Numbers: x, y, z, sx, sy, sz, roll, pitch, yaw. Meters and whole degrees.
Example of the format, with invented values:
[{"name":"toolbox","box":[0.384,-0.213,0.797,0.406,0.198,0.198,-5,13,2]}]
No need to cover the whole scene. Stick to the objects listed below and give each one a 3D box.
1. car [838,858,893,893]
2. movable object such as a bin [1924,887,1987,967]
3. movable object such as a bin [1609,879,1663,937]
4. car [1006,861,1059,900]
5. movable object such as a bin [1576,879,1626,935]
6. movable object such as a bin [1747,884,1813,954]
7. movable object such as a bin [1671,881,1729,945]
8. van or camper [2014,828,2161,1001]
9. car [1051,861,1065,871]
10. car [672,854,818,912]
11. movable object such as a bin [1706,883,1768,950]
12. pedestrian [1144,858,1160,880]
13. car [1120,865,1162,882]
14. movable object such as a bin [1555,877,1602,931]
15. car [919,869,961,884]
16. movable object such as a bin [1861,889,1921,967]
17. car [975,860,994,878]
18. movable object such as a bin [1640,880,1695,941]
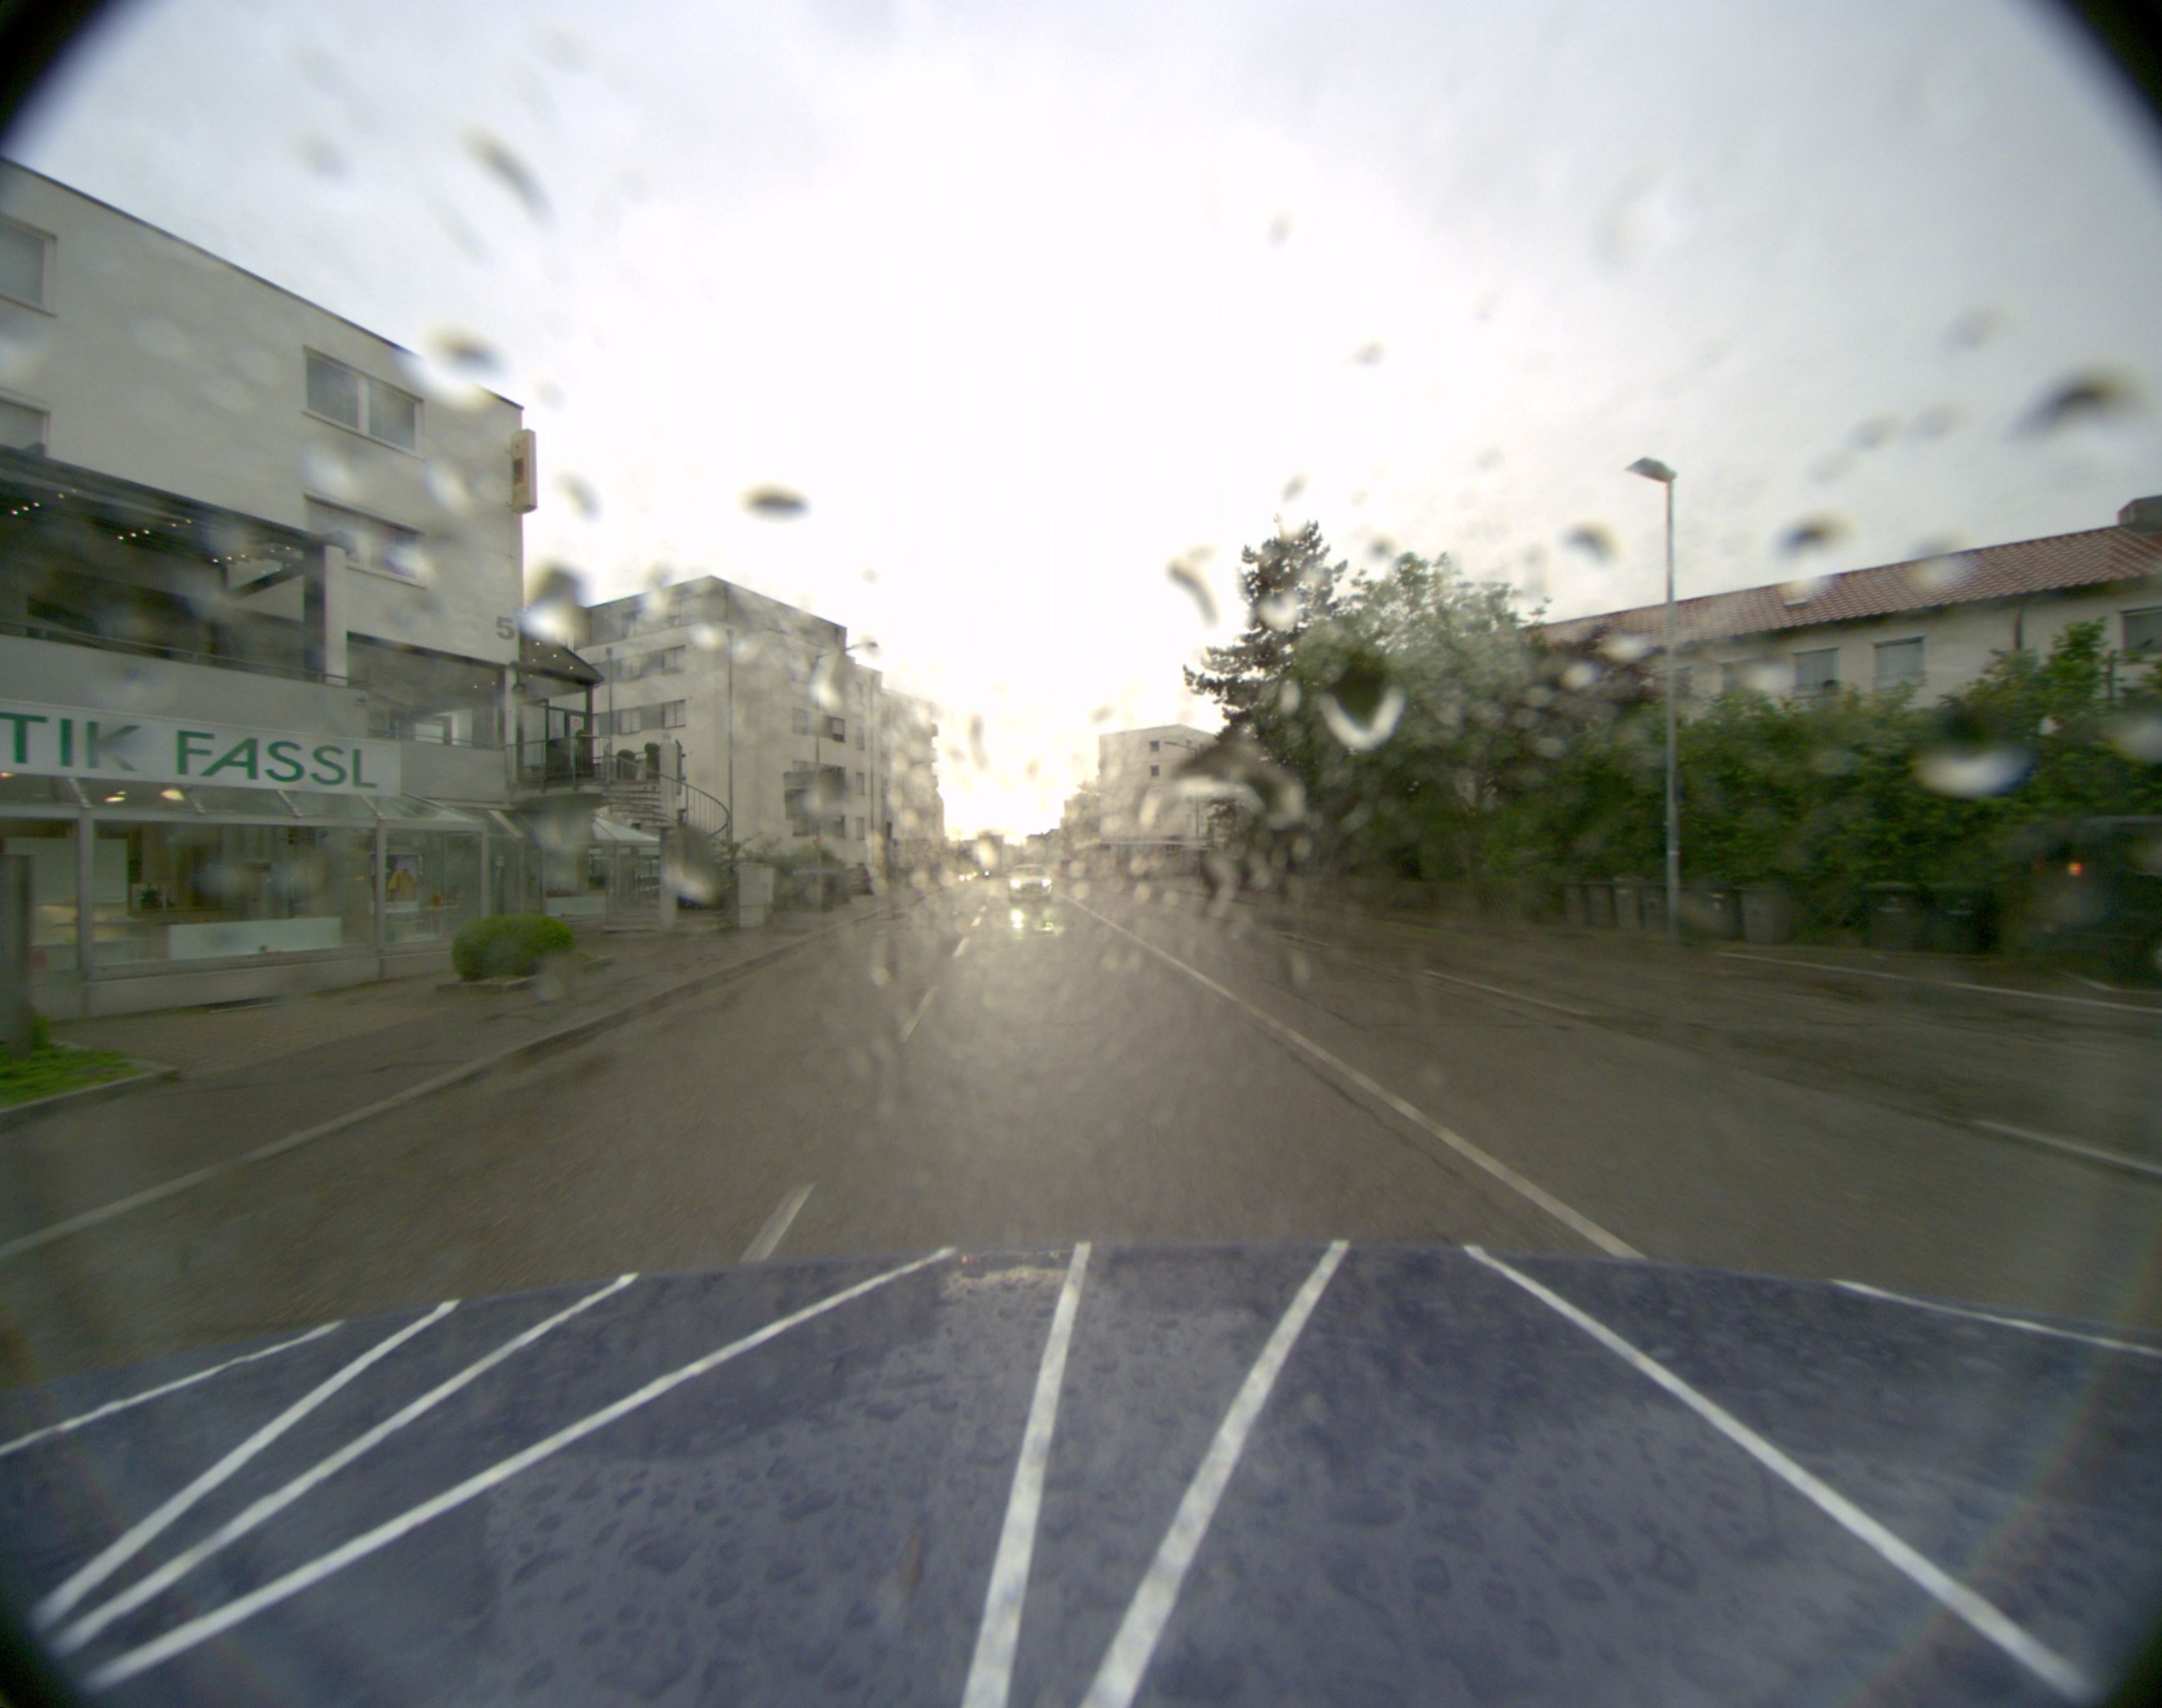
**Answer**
[{"name":"car","box":[-11.532,1.116,40.980,1.999,1.775,4.689,-1,-1,-5]},{"name":"movable object such as a bin","box":[12.902,1.057,11.214,0.602,1.111,0.600,0,0,-40]},{"name":"movable object such as a bin","box":[11.031,1.055,15.116,0.601,1.111,0.600,-1,0,-6]},{"name":"car","box":[-2.069,1.086,31.573,1.831,1.430,4.343,-1,-2,-8]},{"name":"movable object such as a bin","box":[10.756,1.080,15.721,0.601,1.111,0.600,-1,0,-7]},{"name":"movable object such as a bin","box":[11.699,1.067,12.726,0.601,1.111,0.600,0,0,-17]},{"name":"movable object such as a bin","box":[11.327,1.062,13.915,0.601,1.111,0.600,0,0,-17]},{"name":"van or camper","box":[14.030,0.626,7.876,5.203,1.913,2.005,-2,-2,42]},{"name":"car","box":[-3.555,1.903,119.092,1.703,1.400,3.998,2,-2,-8]},{"name":"car","box":[-12.467,1.019,28.557,1.995,2.001,4.789,-1,-1,28]},{"name":"movable object such as a bin","box":[11.483,1.078,13.308,0.601,1.111,0.600,0,0,-17]},{"name":"pedestrian","box":[5.326,1.130,56.887,0.872,1.597,1.102,-1,1,-13]},{"name":"car","box":[5.903,1.869,73.824,1.994,1.537,4.481,0,0,36]},{"name":"movable object such as a bin","box":[10.689,1.058,16.341,0.601,1.112,0.600,-1,0,-7]},{"name":"car","box":[-15.824,2.529,85.192,4.261,1.485,1.876,-2,-3,22]},{"name":"movable object such as a bin","box":[12.376,1.113,11.608,0.602,1.111,0.600,0,0,-40]},{"name":"car","box":[-11.439,1.798,90.277,1.999,2.001,3.999,-1,-2,-5]},{"name":"movable object such as a bin","box":[11.208,1.064,14.527,0.601,1.111,0.600,0,0,-17]}]
